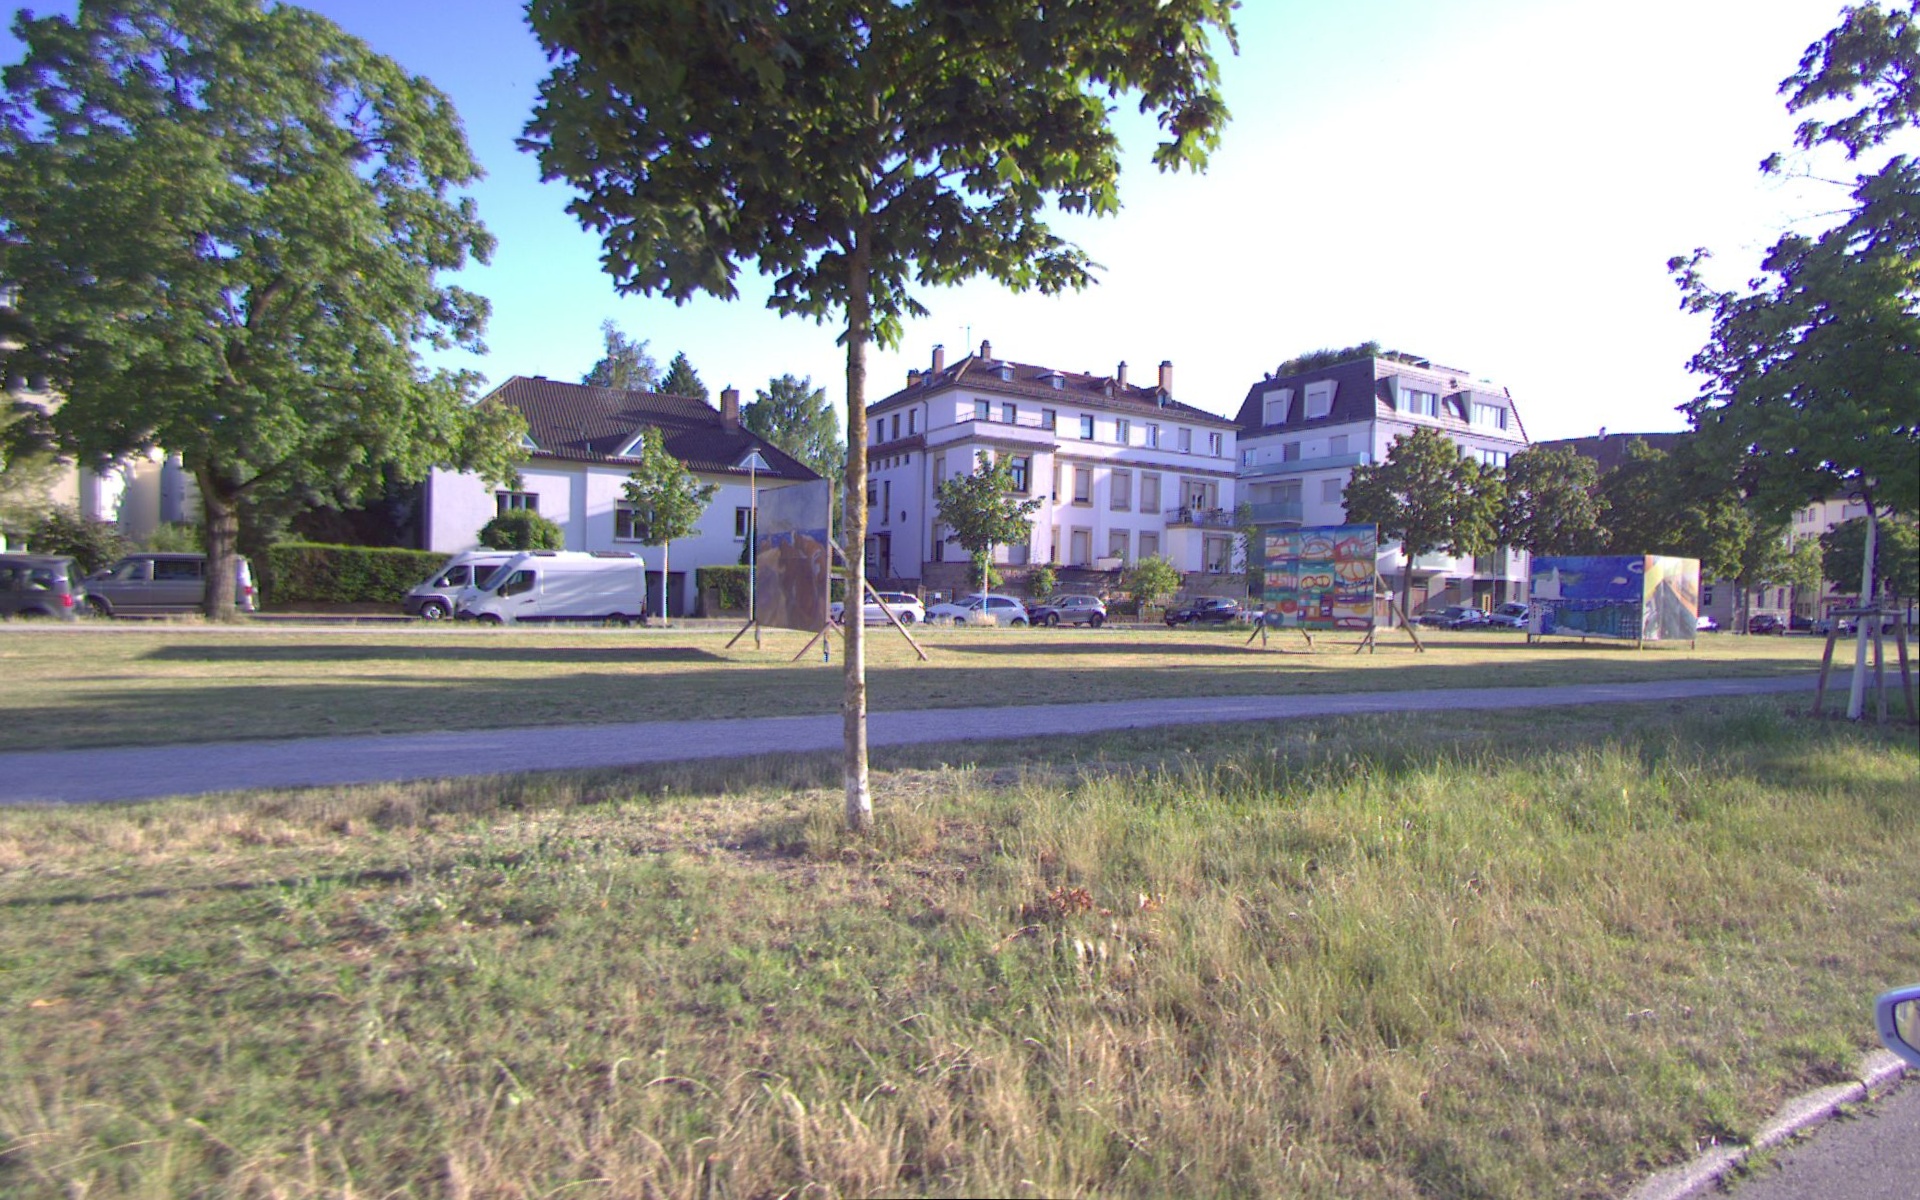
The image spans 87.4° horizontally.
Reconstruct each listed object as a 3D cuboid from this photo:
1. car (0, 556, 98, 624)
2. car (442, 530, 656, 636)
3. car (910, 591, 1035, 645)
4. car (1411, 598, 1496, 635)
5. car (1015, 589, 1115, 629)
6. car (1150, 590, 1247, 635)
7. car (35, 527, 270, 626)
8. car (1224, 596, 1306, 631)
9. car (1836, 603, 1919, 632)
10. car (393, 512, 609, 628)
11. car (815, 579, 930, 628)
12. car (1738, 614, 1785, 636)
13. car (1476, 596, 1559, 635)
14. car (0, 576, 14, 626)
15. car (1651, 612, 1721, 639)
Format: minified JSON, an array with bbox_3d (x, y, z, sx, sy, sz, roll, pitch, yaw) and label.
[{"bbox_3d":[-23.566,-0.278,24.025,4.261,1.585,1.406,2,1,-32],"label":"car"},{"bbox_3d":[-12.603,-0.403,30.961,5.802,2.862,2.250,3,-3,-30],"label":"car"},{"bbox_3d":[0.523,0.734,39.082,4.587,1.924,1.826,2,-3,-29],"label":"car"},{"bbox_3d":[26.752,0.923,54.413,4.637,1.852,1.919,3,-3,-30],"label":"car"},{"bbox_3d":[5.069,0.478,48.213,4.613,1.725,1.773,3,-3,-31],"label":"car"},{"bbox_3d":[12.641,0.695,53.220,4.795,2.158,2.229,2,-3,-29],"label":"car"},{"bbox_3d":[-24.456,-0.621,30.759,5.267,2.638,2.124,3,-3,-32],"label":"car"},{"bbox_3d":[16.906,0.794,55.640,4.406,1.767,1.813,2,-3,-29],"label":"car"},{"bbox_3d":[95.763,1.799,104.769,6.203,2.756,1.999,2,1,30],"label":"car"},{"bbox_3d":[-16.150,-0.918,35.529,6.686,3.605,2.293,3,-3,-30],"label":"car"},{"bbox_3d":[-3.741,0.197,43.172,4.660,1.878,1.722,3,-3,-31],"label":"car"},{"bbox_3d":[68.212,2.172,85.459,4.242,1.729,1.637,2,-3,-29],"label":"car"},{"bbox_3d":[32.122,0.912,57.826,5.315,2.027,2.007,3,-3,-34],"label":"car"},{"bbox_3d":[-29.670,-0.063,27.882,4.502,1.421,1.987,2,-3,-27],"label":"car"},{"bbox_3d":[49.139,1.766,67.966,4.769,1.658,1.975,2,-3,-29],"label":"car"}]
